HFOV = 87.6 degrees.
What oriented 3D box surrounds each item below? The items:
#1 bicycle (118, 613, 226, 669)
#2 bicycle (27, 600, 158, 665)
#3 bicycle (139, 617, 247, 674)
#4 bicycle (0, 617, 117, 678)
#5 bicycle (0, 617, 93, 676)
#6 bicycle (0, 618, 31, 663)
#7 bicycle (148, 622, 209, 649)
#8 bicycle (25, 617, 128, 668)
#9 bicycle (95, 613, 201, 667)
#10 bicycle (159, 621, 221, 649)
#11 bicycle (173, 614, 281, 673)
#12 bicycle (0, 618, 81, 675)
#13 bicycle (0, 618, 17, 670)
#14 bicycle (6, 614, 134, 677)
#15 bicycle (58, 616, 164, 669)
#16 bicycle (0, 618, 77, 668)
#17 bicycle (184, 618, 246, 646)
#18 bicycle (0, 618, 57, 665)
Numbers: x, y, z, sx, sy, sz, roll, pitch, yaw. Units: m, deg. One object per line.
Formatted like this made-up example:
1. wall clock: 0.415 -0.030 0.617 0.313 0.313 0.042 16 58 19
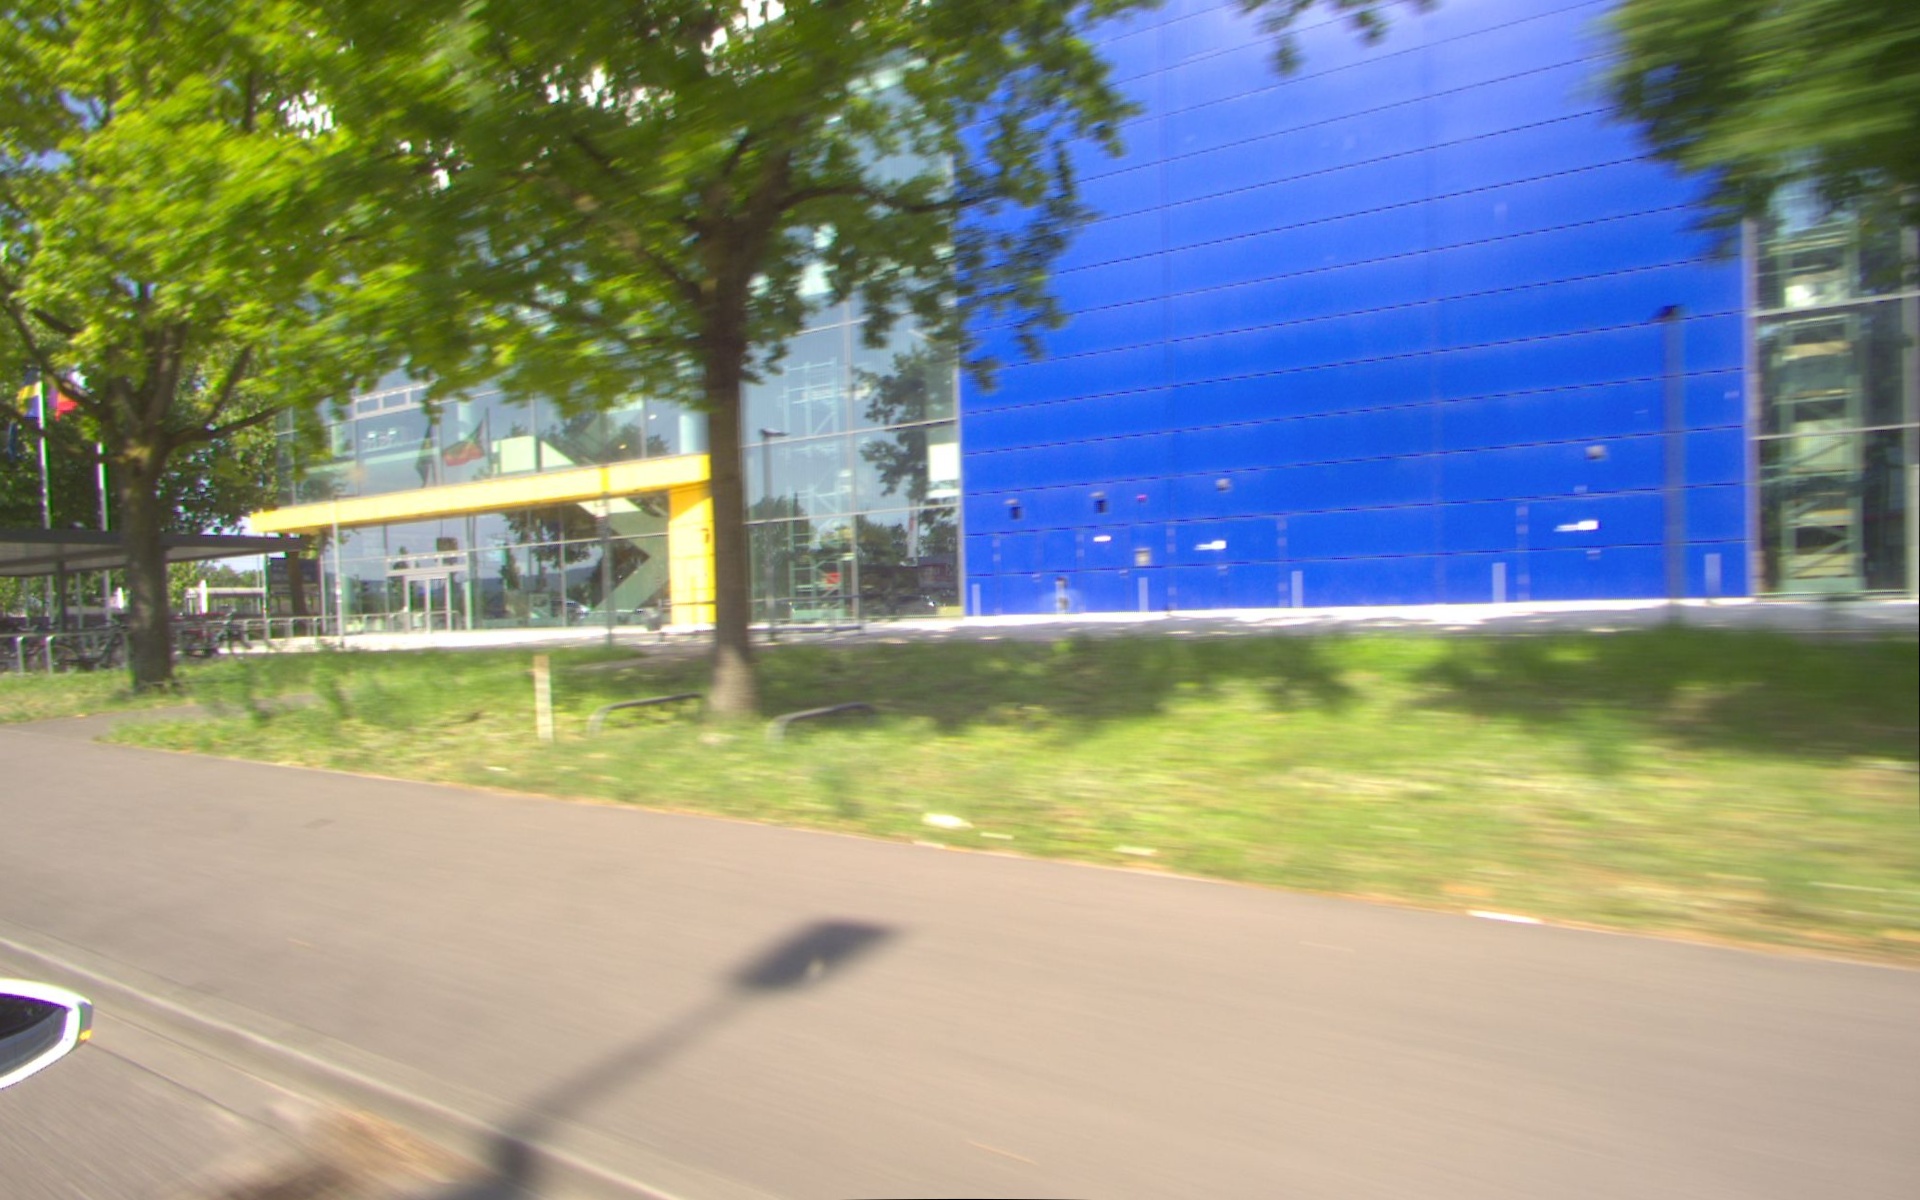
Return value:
1. bicycle: -16.952 0.866 21.588 0.445 1.111 1.755 0 1 29
2. bicycle: -16.087 0.579 18.617 0.445 1.111 1.755 0 1 29
3. bicycle: -16.065 0.932 21.023 0.445 1.111 1.755 0 1 29
4. bicycle: -17.985 0.928 19.954 0.445 1.111 1.755 0 1 29
5. bicycle: -18.822 0.932 20.333 0.445 1.111 1.755 0 1 29
6. bicycle: -24.574 1.045 25.144 0.445 1.111 1.755 0 1 29
7. bicycle: -26.162 1.185 33.562 0.427 0.854 1.559 0 0 30
8. bicycle: -20.810 0.971 23.617 0.445 1.111 1.755 0 1 29
9. bicycle: -17.912 0.866 22.137 0.445 1.111 1.755 0 1 29
10. bicycle: -25.453 1.150 33.111 0.427 0.854 1.558 0 1 31
11. bicycle: -15.078 0.868 20.641 0.445 1.111 1.755 0 1 29
12. bicycle: -19.283 0.942 20.575 0.445 1.111 1.755 0 1 29
13. bicycle: -21.373 0.977 21.360 0.445 1.111 1.755 0 1 29
14. bicycle: -16.967 0.841 19.130 0.456 1.111 1.755 0 1 29
15. bicycle: -19.215 0.944 22.709 0.445 1.111 1.755 0 1 29
16. bicycle: -22.337 1.014 23.942 0.445 1.111 1.755 0 1 29
17. bicycle: -24.014 1.013 32.292 0.427 0.854 1.558 0 1 31
18. bicycle: -23.500 1.034 24.642 0.445 1.111 1.826 0 1 29
